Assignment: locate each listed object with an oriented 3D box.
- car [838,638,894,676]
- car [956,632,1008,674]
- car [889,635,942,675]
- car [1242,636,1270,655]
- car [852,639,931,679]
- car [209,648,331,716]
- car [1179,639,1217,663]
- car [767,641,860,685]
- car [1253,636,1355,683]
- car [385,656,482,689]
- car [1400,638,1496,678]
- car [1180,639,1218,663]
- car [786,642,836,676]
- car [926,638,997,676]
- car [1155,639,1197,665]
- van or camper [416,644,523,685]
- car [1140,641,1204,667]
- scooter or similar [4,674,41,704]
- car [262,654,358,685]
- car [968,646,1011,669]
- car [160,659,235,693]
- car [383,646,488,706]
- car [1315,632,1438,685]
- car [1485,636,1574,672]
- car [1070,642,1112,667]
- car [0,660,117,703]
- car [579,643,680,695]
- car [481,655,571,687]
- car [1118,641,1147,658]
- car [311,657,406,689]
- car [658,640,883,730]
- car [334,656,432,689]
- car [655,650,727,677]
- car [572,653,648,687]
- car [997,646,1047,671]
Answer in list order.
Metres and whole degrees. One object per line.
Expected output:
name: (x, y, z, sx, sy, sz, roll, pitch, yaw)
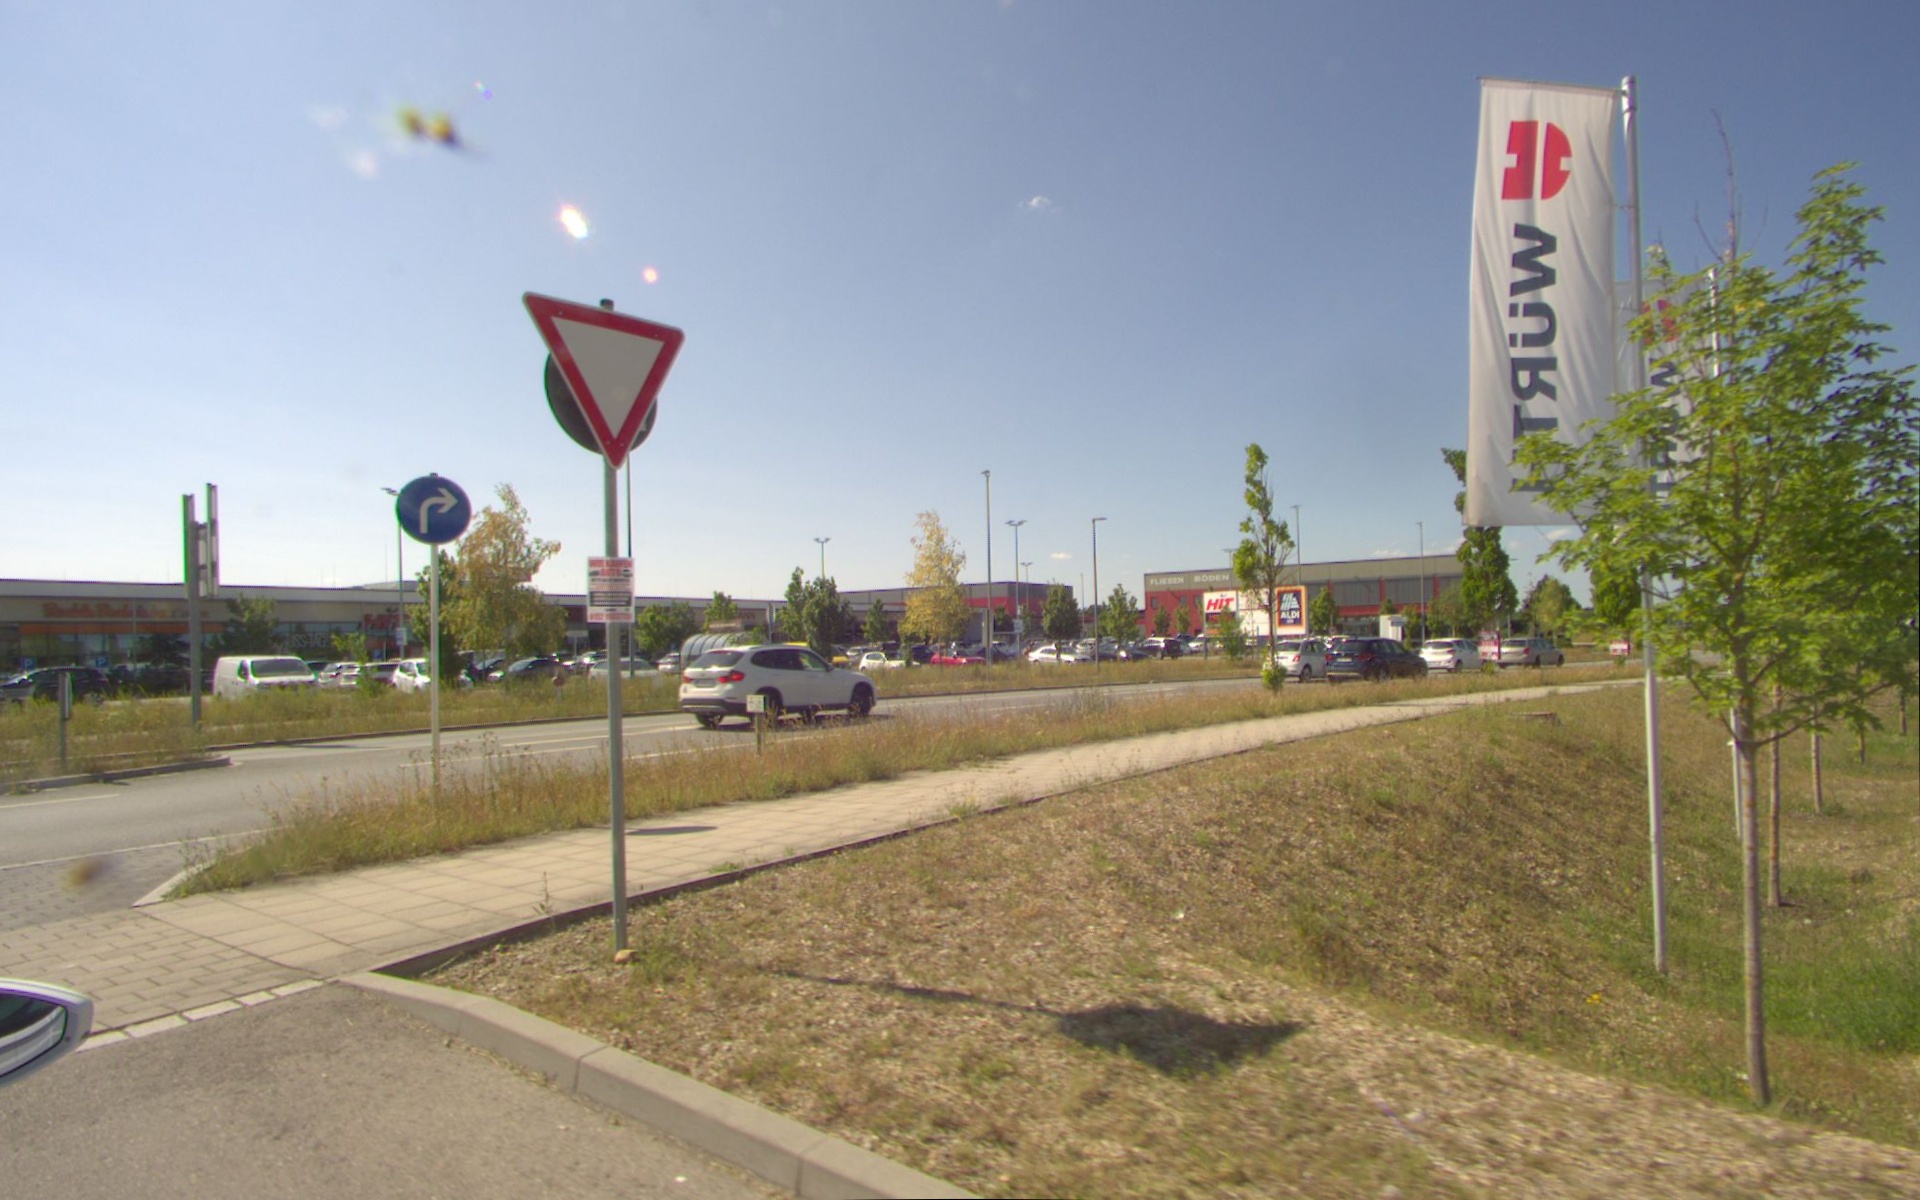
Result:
car: (-7.266, 4.390, 77.730, 1.972, 2.856, 4.462, -3, -3, 32)
car: (1.642, 3.809, 72.169, 1.969, 2.856, 4.470, -3, -3, 26)
car: (-3.251, 4.089, 74.521, 1.969, 2.856, 4.470, -3, -3, 26)
car: (34.884, 5.345, 118.039, 1.972, 2.063, 4.462, -3, -3, 32)
car: (-3.667, 3.121, 52.996, 1.923, 2.039, 4.374, 1, -3, -41)
car: (-22.782, 2.650, 32.988, 5.170, 2.039, 2.072, -3, -3, 40)
car: (21.477, 4.615, 90.322, 1.972, 2.063, 4.462, -3, -3, 32)
car: (-7.305, 3.105, 49.533, 2.141, 2.039, 5.074, 0, -3, -41)
car: (12.427, 2.119, 36.087, 3.741, 1.570, 1.728, 1, -4, -39)
car: (-24.848, 3.399, 47.376, 1.706, 1.408, 3.717, -3, -3, 29)
car: (21.145, 2.485, 43.310, 4.708, 1.570, 1.932, 1, -4, -40)
car: (21.592, 4.609, 90.265, 1.972, 2.063, 4.462, -3, -3, 32)
car: (-13.252, 5.216, 89.285, 1.972, 2.856, 4.462, -3, -3, 32)
car: (0.052, 3.187, 56.114, 1.861, 2.039, 4.108, 1, -3, -39)
car: (18.391, 4.420, 85.136, 1.972, 2.063, 4.462, -3, -3, 32)
van or camper: (-26.994, 3.523, 55.269, 1.973, 2.039, 5.023, -3, -3, 34)
car: (15.643, 4.026, 74.048, 1.976, 1.783, 4.455, 0, -4, -36)
scooter or similar: (-35.351, 3.344, 37.758, 0.644, 1.093, 0.940, -2, -2, 37)
car: (-32.791, 3.484, 50.630, 1.706, 1.408, 3.717, -3, -3, 29)
car: (2.819, 5.423, 94.633, 1.972, 2.063, 4.462, -3, -3, 32)
car: (-42.002, 4.186, 55.149, 3.943, 1.729, 1.990, -3, -2, 31)
car: (-19.421, 2.773, 36.953, 2.143, 2.039, 5.069, 1, -3, -43)
car: (13.461, 1.870, 32.276, 4.341, 1.570, 1.899, 1, -4, -41)
car: (27.407, 2.576, 48.126, 4.702, 1.570, 1.934, 1, -4, -36)
car: (11.744, 4.873, 89.628, 1.972, 2.063, 4.462, -3, -3, 32)
car: (-36.090, 3.212, 39.675, 1.708, 1.527, 3.786, -3, -3, 32)
car: (-14.118, 2.928, 42.637, 2.143, 2.039, 5.069, 1, -3, -43)
car: (-22.584, 3.678, 52.216, 1.850, 1.526, 3.979, -3, -4, 33)
car: (21.700, 6.192, 126.041, 1.972, 2.063, 4.462, -3, -3, 32)
car: (-29.882, 3.631, 49.857, 1.706, 1.408, 3.717, -3, -3, 29)
car: (-3.648, 1.621, 20.071, 1.718, 1.570, 4.545, -3, -4, 34)
car: (-27.567, 3.473, 47.936, 1.706, 1.408, 3.717, -3, -3, 29)
car: (-16.697, 3.916, 62.344, 1.633, 1.538, 4.326, -3, -4, 34)
car: (-23.308, 4.635, 66.822, 1.975, 2.128, 4.456, -4, -4, 36)
car: (4.841, 4.535, 77.500, 1.972, 1.806, 4.294, -3, -3, 32)
